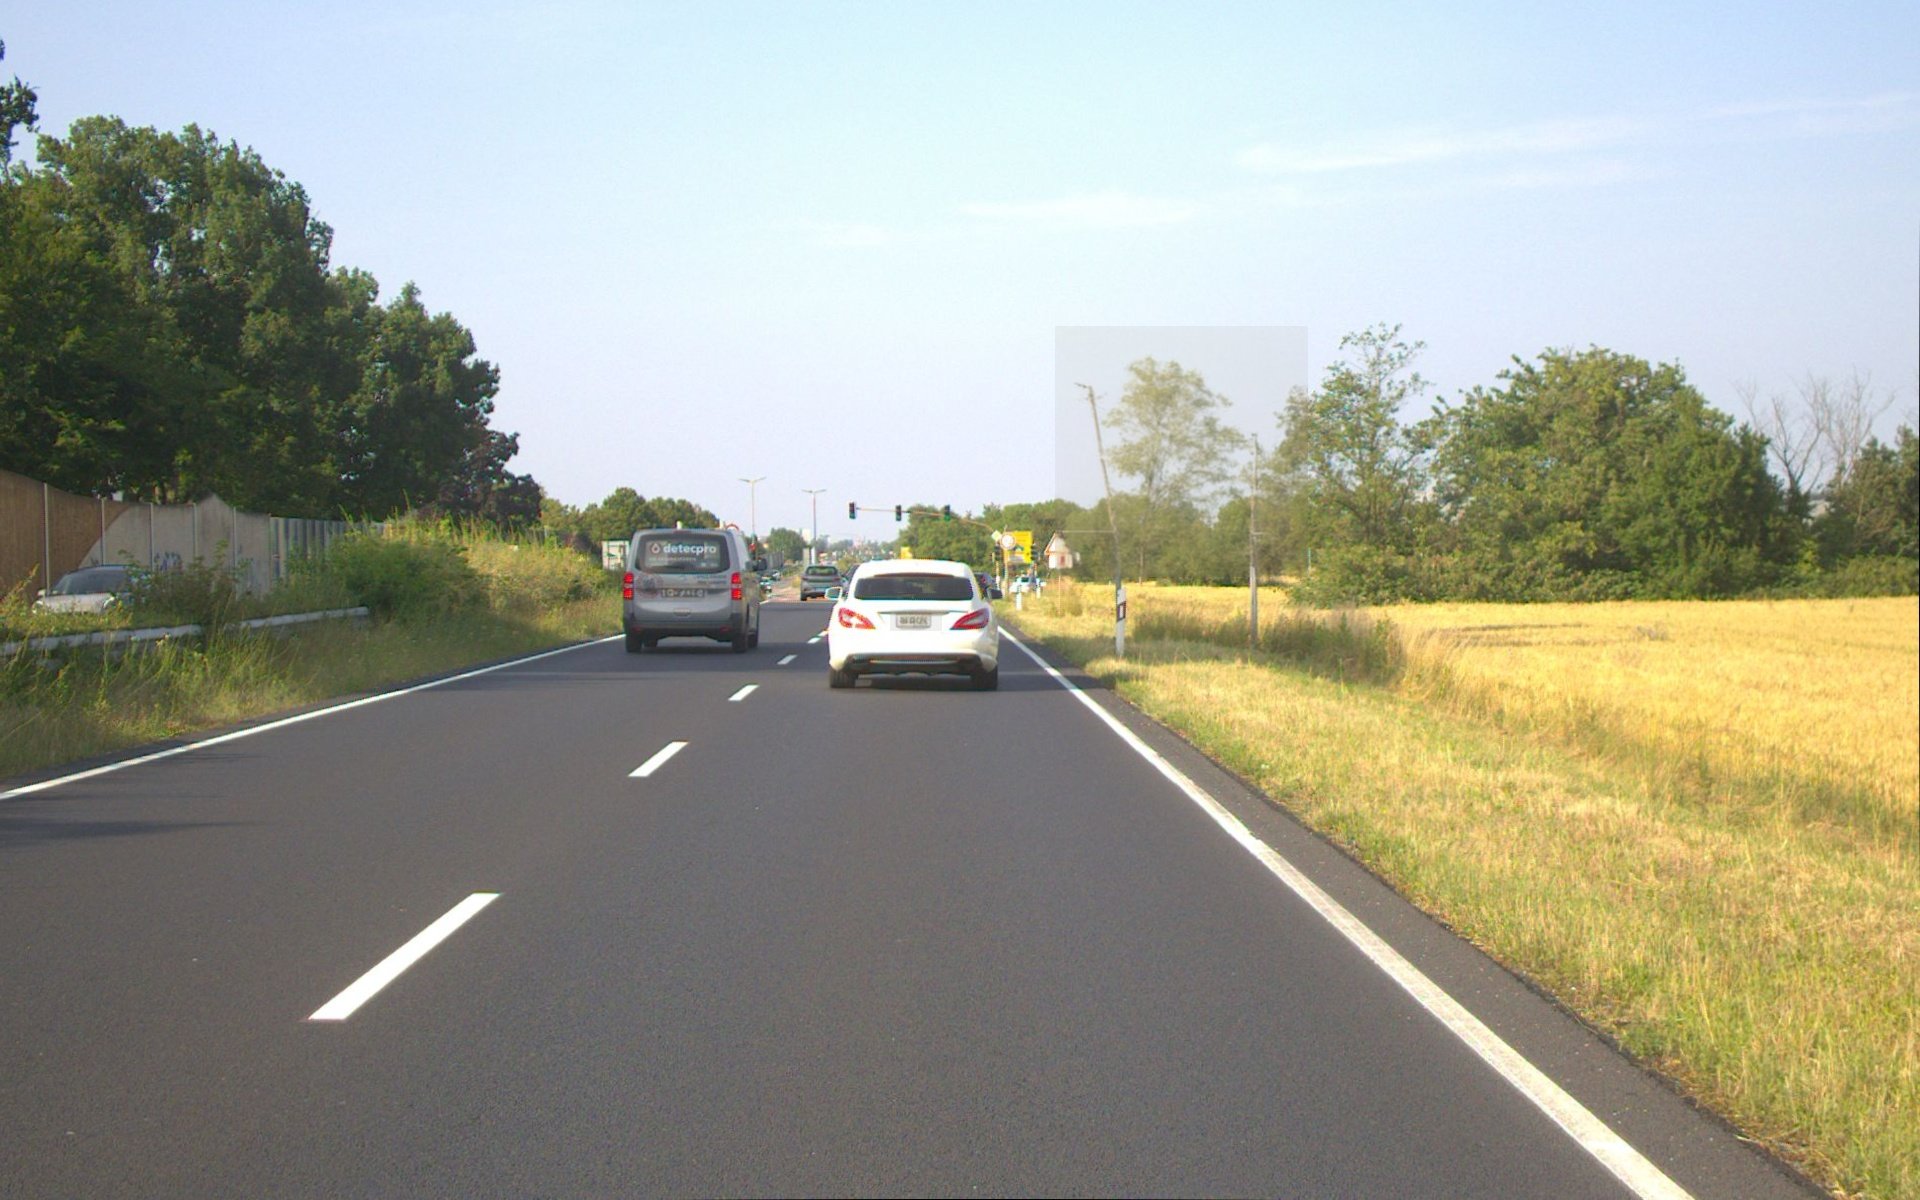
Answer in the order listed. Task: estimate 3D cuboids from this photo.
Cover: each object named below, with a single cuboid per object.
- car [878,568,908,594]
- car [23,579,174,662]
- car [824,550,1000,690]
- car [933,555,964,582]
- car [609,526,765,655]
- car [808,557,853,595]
[{"bbox_3d":[-4.430,-1.272,227.458,1.839,1.678,4.000,1,0,1],"label":"car"},{"bbox_3d":[-15.304,0.345,61.280,1.648,1.356,4.290,2,0,-1],"label":"car"},{"bbox_3d":[-0.563,0.196,39.019,1.894,1.503,4.000,0,0,-1],"label":"car"},{"bbox_3d":[-0.692,-1.832,198.996,1.754,1.511,4.000,-1,0,0],"label":"car"},{"bbox_3d":[-4.194,-0.183,53.514,2.025,1.885,4.958,1,1,0],"label":"car"},{"bbox_3d":[-5.220,-0.965,139.263,1.717,1.487,3.585,1,0,-1],"label":"car"}]
